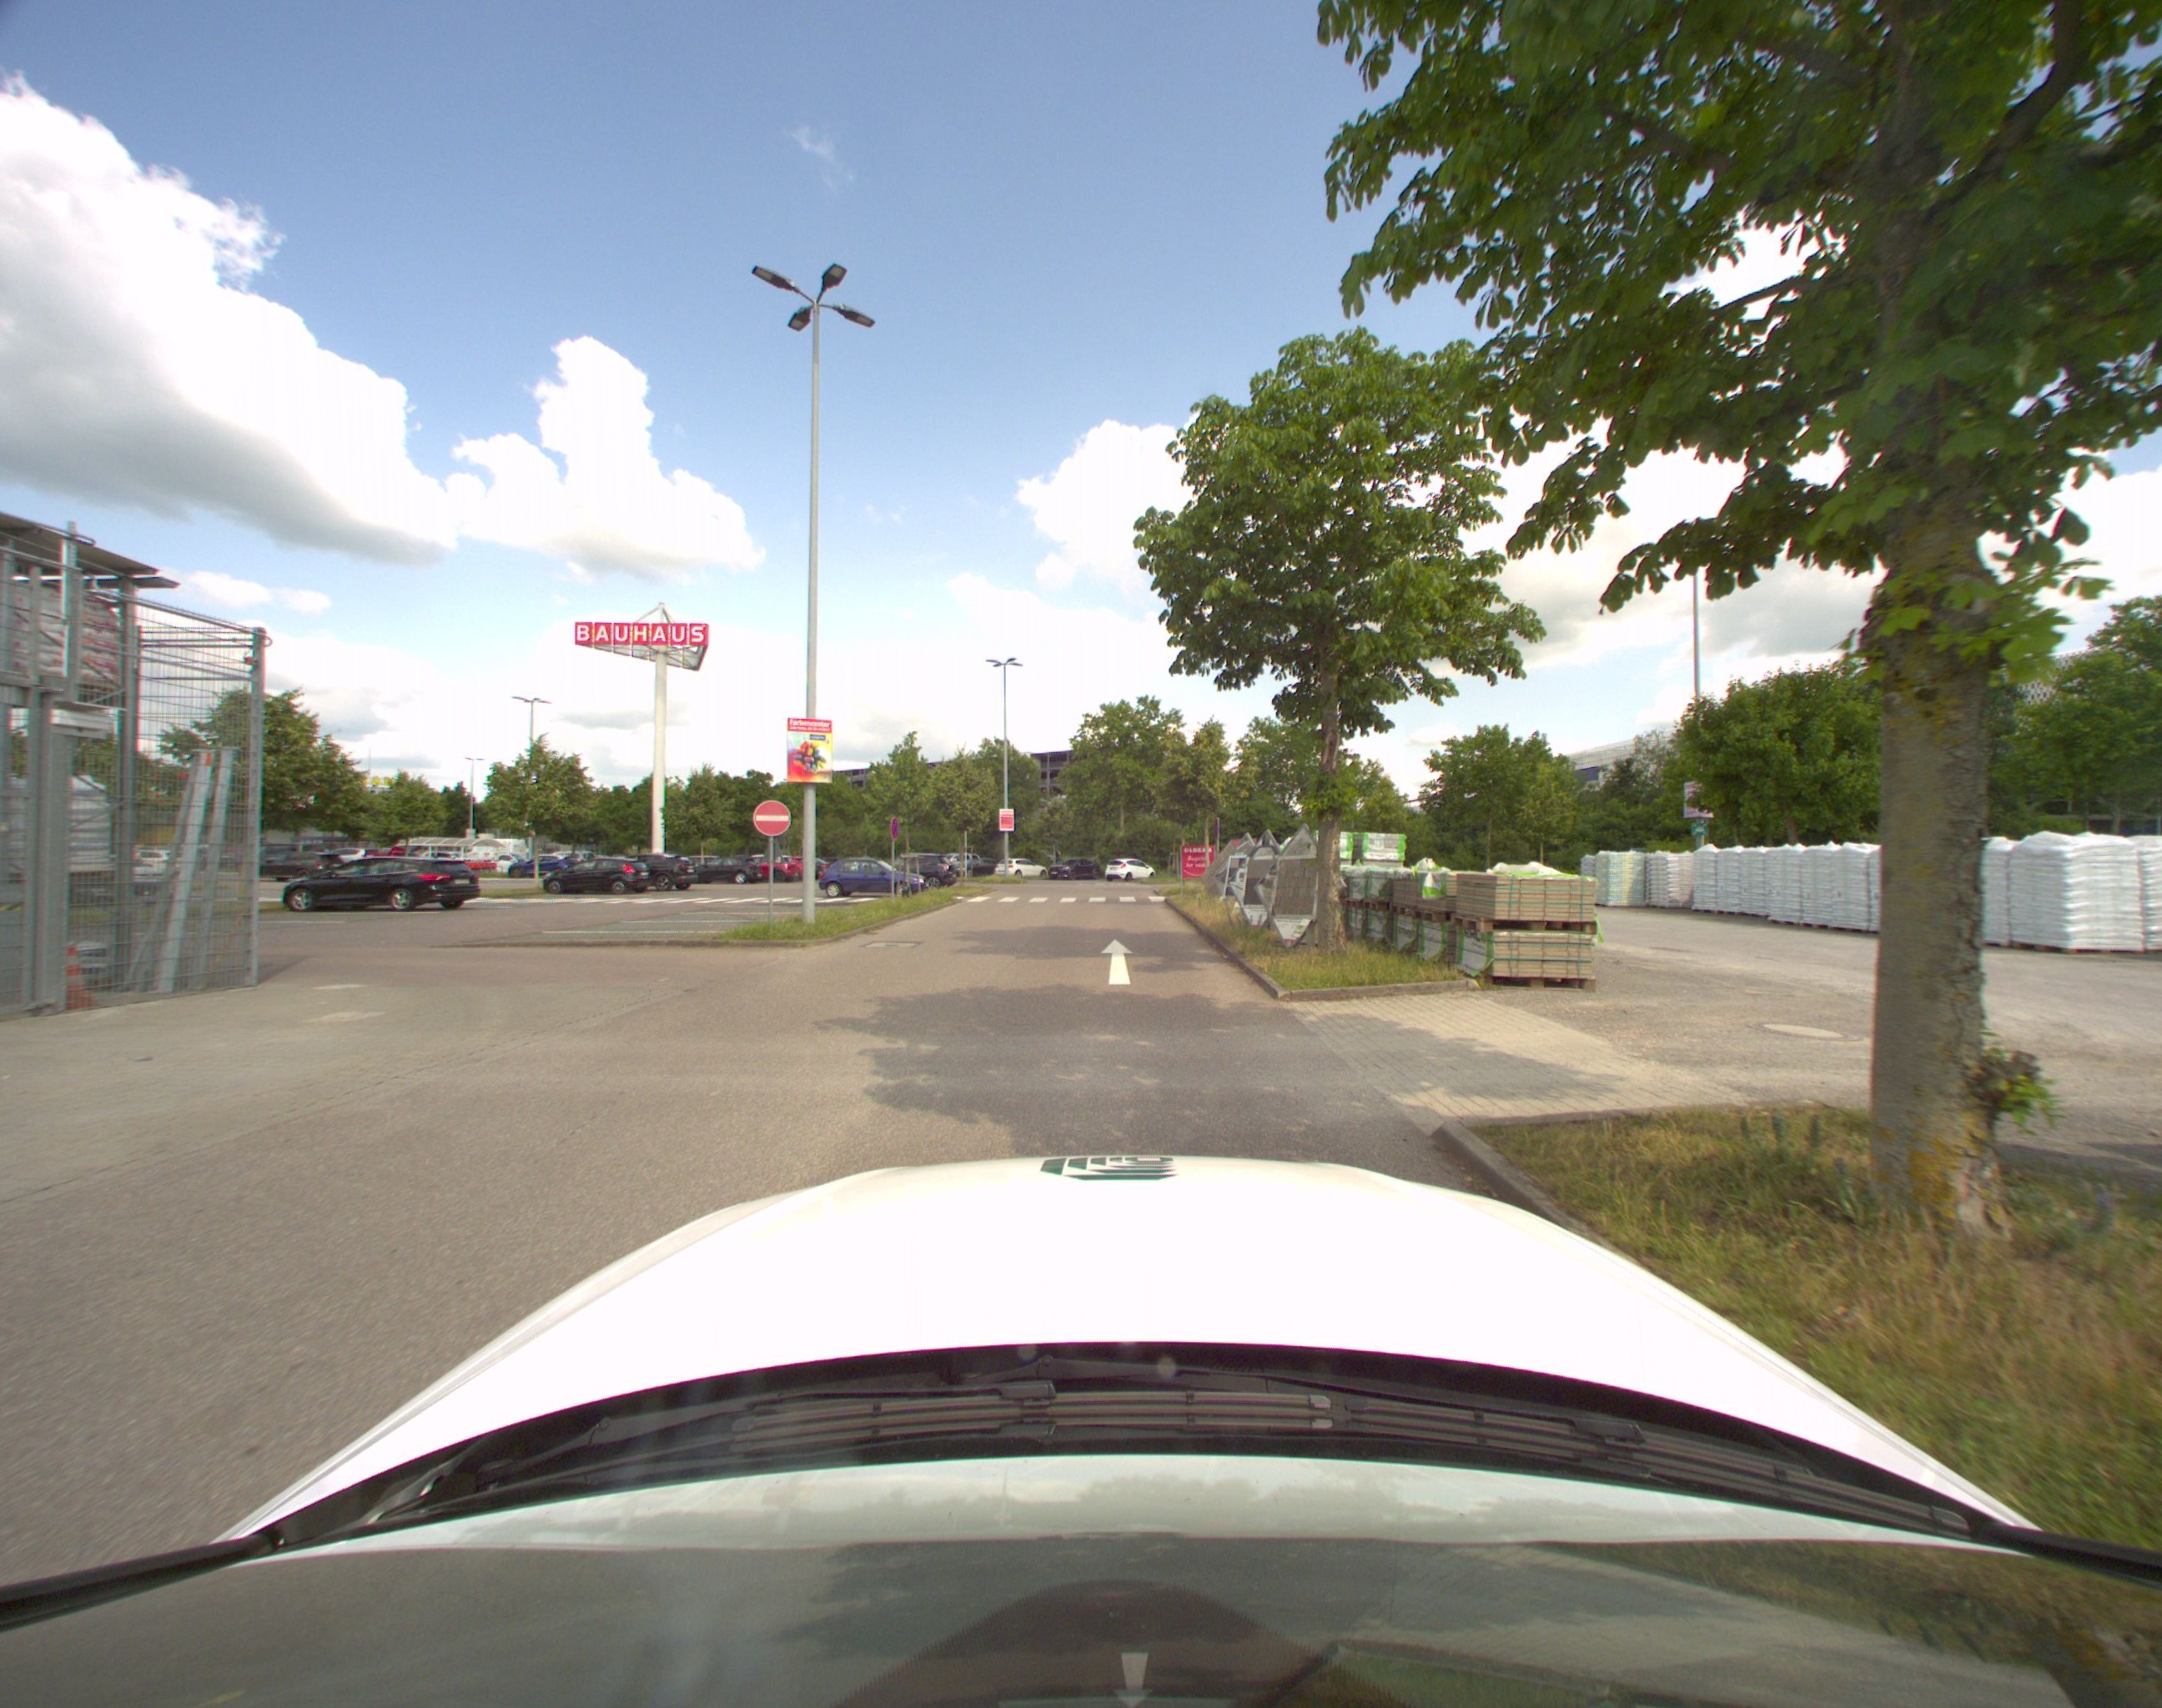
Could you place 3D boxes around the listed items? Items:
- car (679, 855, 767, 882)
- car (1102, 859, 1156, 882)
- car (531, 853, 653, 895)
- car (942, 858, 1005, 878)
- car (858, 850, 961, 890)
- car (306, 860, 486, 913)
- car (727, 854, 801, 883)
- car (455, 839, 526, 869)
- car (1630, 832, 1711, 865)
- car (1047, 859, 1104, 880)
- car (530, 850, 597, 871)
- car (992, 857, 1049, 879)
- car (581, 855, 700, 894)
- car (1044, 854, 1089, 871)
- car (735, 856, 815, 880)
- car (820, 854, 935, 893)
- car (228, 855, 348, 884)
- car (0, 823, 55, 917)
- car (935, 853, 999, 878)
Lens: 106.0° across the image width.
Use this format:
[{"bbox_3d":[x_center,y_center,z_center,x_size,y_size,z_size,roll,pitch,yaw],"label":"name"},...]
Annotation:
[{"bbox_3d":[-18.795,0.755,42.906,3.860,1.369,1.728,0,0,-2],"label":"car"},{"bbox_3d":[3.156,1.041,52.604,1.649,1.411,3.579,0,0,41],"label":"car"},{"bbox_3d":[-19.284,0.765,32.214,3.687,1.624,1.781,0,0,-4],"label":"car"},{"bbox_3d":[-8.046,1.021,61.277,1.816,1.451,4.755,0,0,37],"label":"car"},{"bbox_3d":[-7.204,0.653,34.449,3.933,1.624,1.738,0,0,3],"label":"car"},{"bbox_3d":[-18.689,0.859,22.357,3.335,1.404,1.810,0,0,-2],"label":"car"},{"bbox_3d":[-17.651,0.775,45.474,3.425,1.581,1.709,0,0,-1],"label":"car"},{"bbox_3d":[-52.065,0.024,71.829,4.695,2.510,2.054,1,-2,2],"label":"car"},{"bbox_3d":[37.031,-0.339,51.213,3.949,2.013,2.012,0,0,41],"label":"car"},{"bbox_3d":[-0.347,1.031,55.648,1.711,1.410,4.270,0,0,36],"label":"car"},{"bbox_3d":[-40.548,0.475,63.833,3.974,1.596,1.910,0,0,0],"label":"car"},{"bbox_3d":[-4.275,0.999,58.241,1.668,1.510,4.107,-1,-1,39],"label":"car"},{"bbox_3d":[-18.711,0.842,34.726,4.058,1.624,1.783,0,0,0],"label":"car"},{"bbox_3d":[-1.452,0.821,80.871,3.948,1.715,2.013,0,0,34],"label":"car"},{"bbox_3d":[-18.008,0.822,48.050,4.062,1.399,1.766,0,0,-1],"label":"car"},{"bbox_3d":[-7.314,0.677,29.504,3.736,1.368,1.622,0,0,1],"label":"car"},{"bbox_3d":[-42.188,0.811,43.392,4.386,1.468,2.000,0,0,1],"label":"car"},{"bbox_3d":[-25.892,0.345,17.524,5.151,2.014,2.001,0,0,1],"label":"car"},{"bbox_3d":[-8.940,0.863,64.092,1.965,1.842,5.180,0,0,35],"label":"car"}]
